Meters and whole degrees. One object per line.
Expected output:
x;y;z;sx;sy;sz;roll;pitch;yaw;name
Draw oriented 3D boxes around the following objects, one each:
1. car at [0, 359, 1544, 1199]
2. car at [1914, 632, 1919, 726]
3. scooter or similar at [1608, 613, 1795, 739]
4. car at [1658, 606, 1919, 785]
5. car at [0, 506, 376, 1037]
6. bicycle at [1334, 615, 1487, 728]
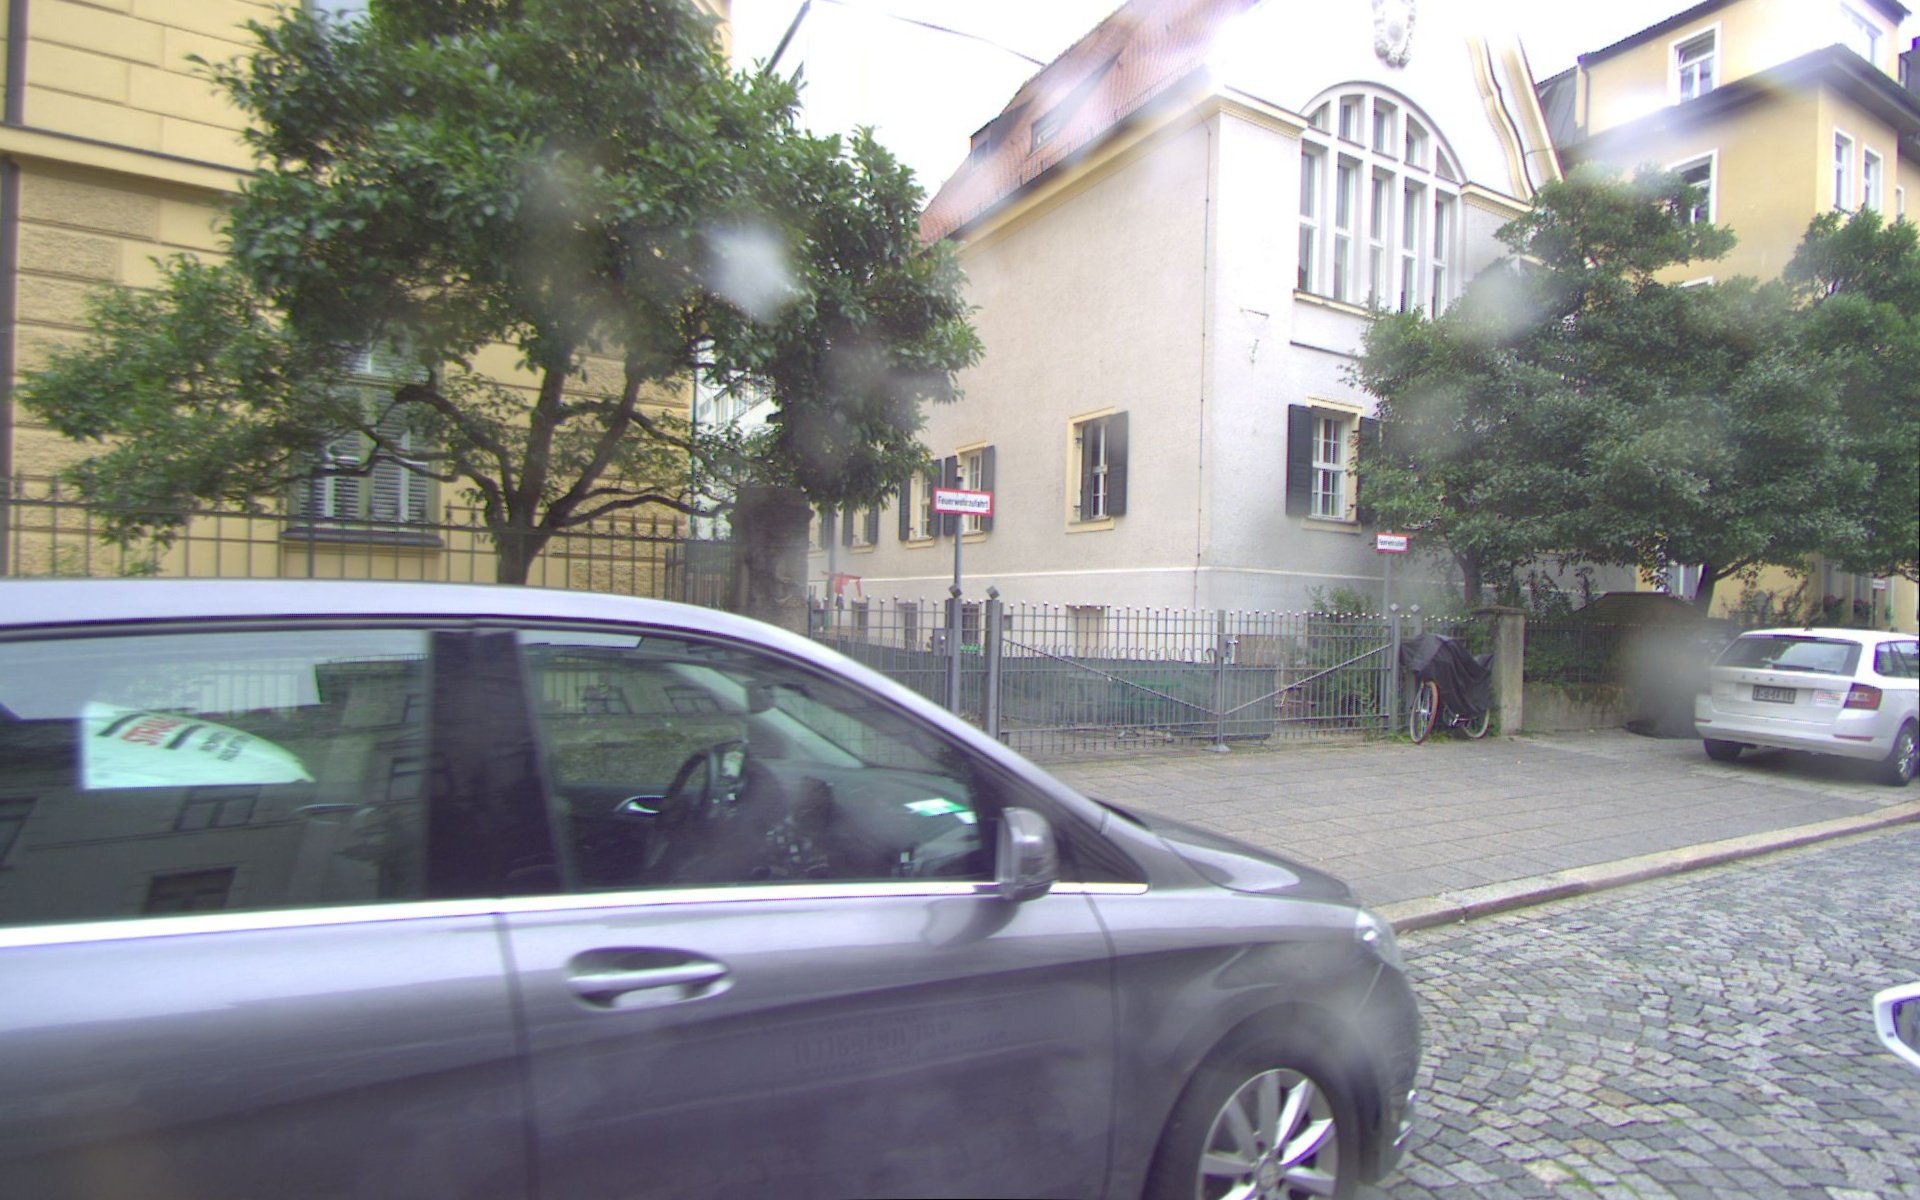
-0.575;0.589;2.389;4.147;1.607;1.729;2;-1;-33;car
15.925;1.162;14.544;4.506;1.436;1.768;2;1;-29;car
10.046;0.984;13.583;2.603;1.543;1.057;2;0;-30;scooter or similar
9.778;0.948;11.054;4.415;1.557;1.731;2;1;-31;car
-4.254;0.411;2.931;4.338;1.485;1.833;2;1;-30;car
5.532;0.856;12.291;2.036;1.275;0.603;2;0;-30;bicycle
